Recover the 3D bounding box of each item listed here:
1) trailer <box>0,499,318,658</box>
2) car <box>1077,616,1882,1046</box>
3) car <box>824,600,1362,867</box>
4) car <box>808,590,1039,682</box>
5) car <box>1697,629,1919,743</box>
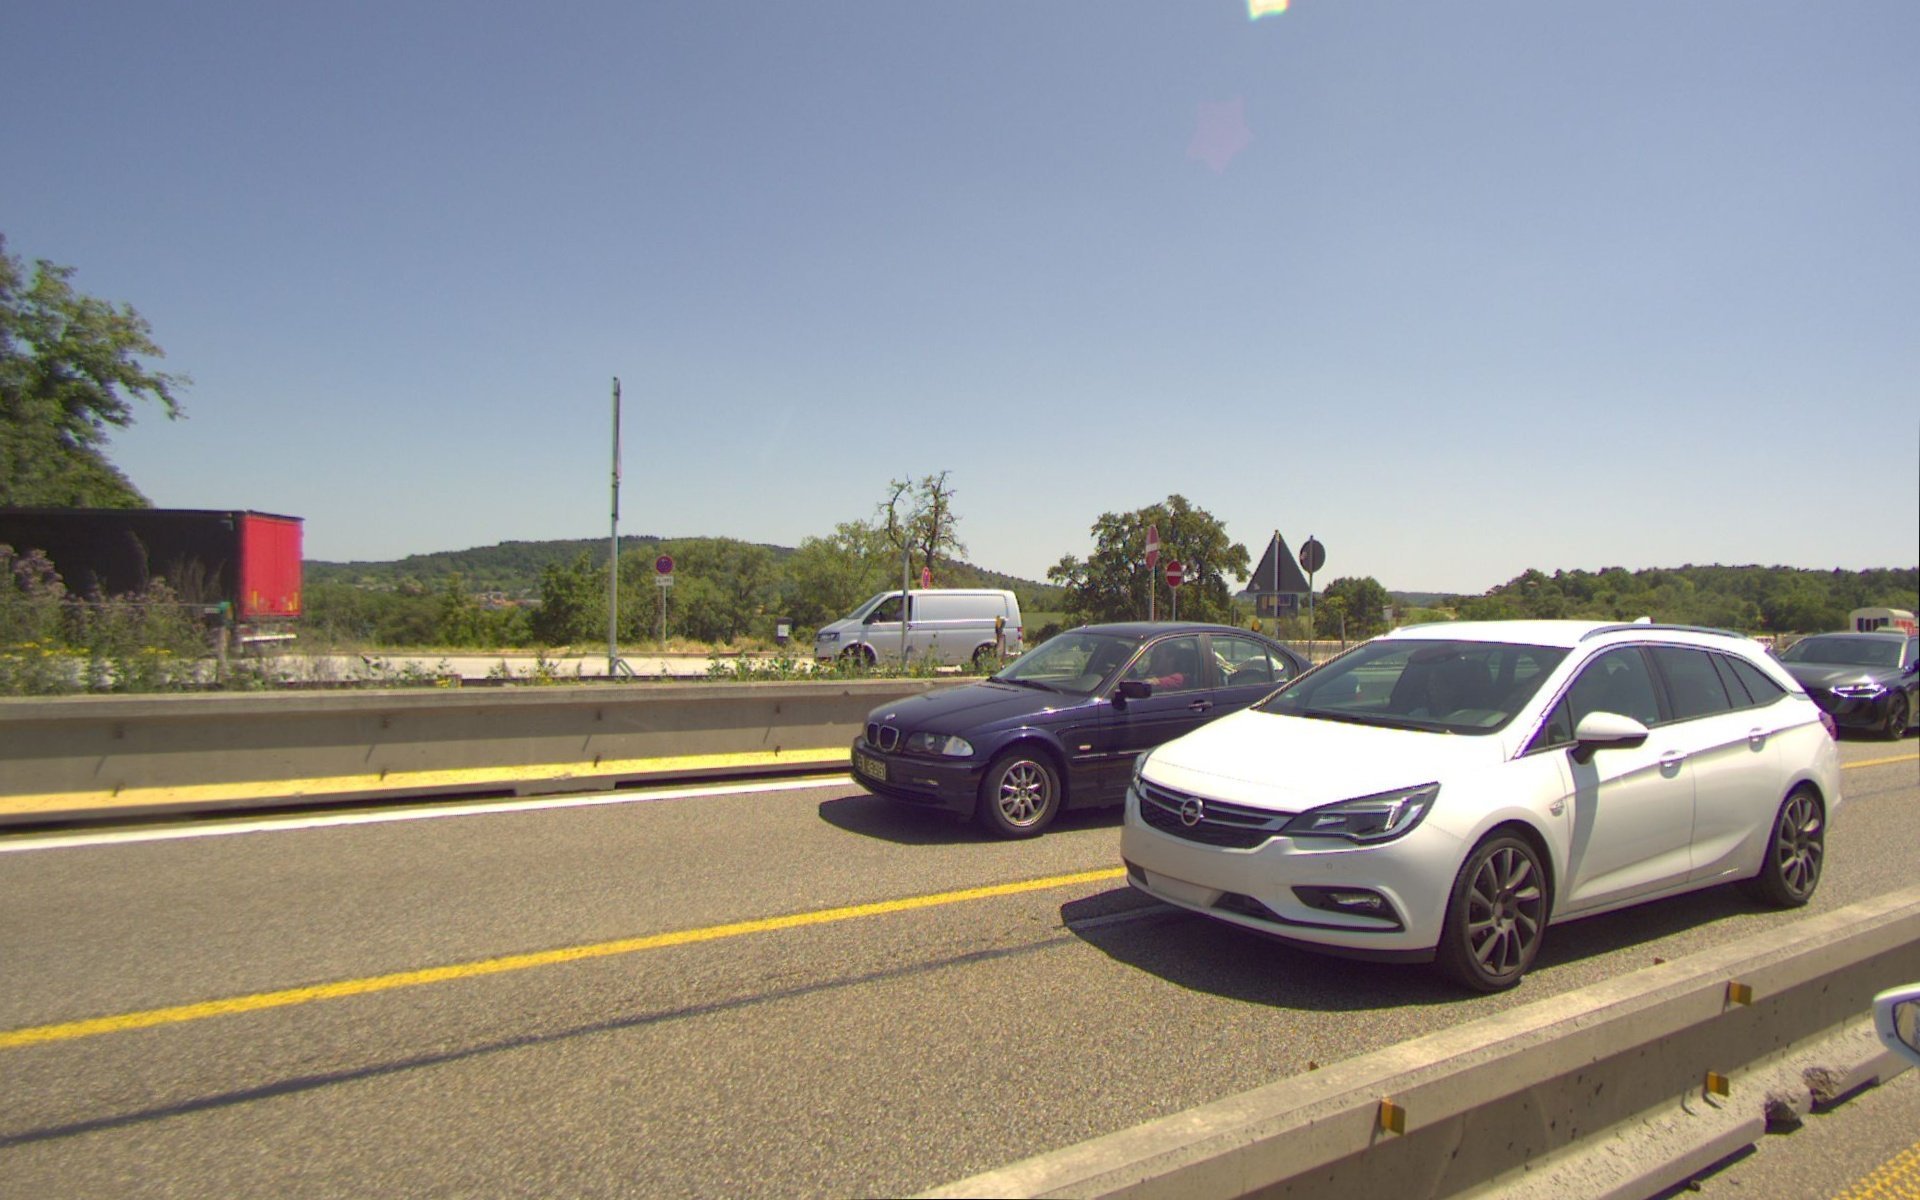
[{"bbox_3d":[-26.191,-0.604,28.219,13.889,4.166,3.159,1,0,-3],"label":"trailer"},{"bbox_3d":[2.933,0.851,5.387,4.466,1.498,1.726,1,-1,-30],"label":"car"},{"bbox_3d":[1.111,0.860,7.864,3.954,1.618,1.758,1,-1,-31],"label":"car"},{"bbox_3d":[-0.875,0.775,22.961,5.006,1.967,1.919,0,0,-14],"label":"car"},{"bbox_3d":[13.384,1.185,15.077,4.523,1.417,1.985,1,0,-28],"label":"car"}]
